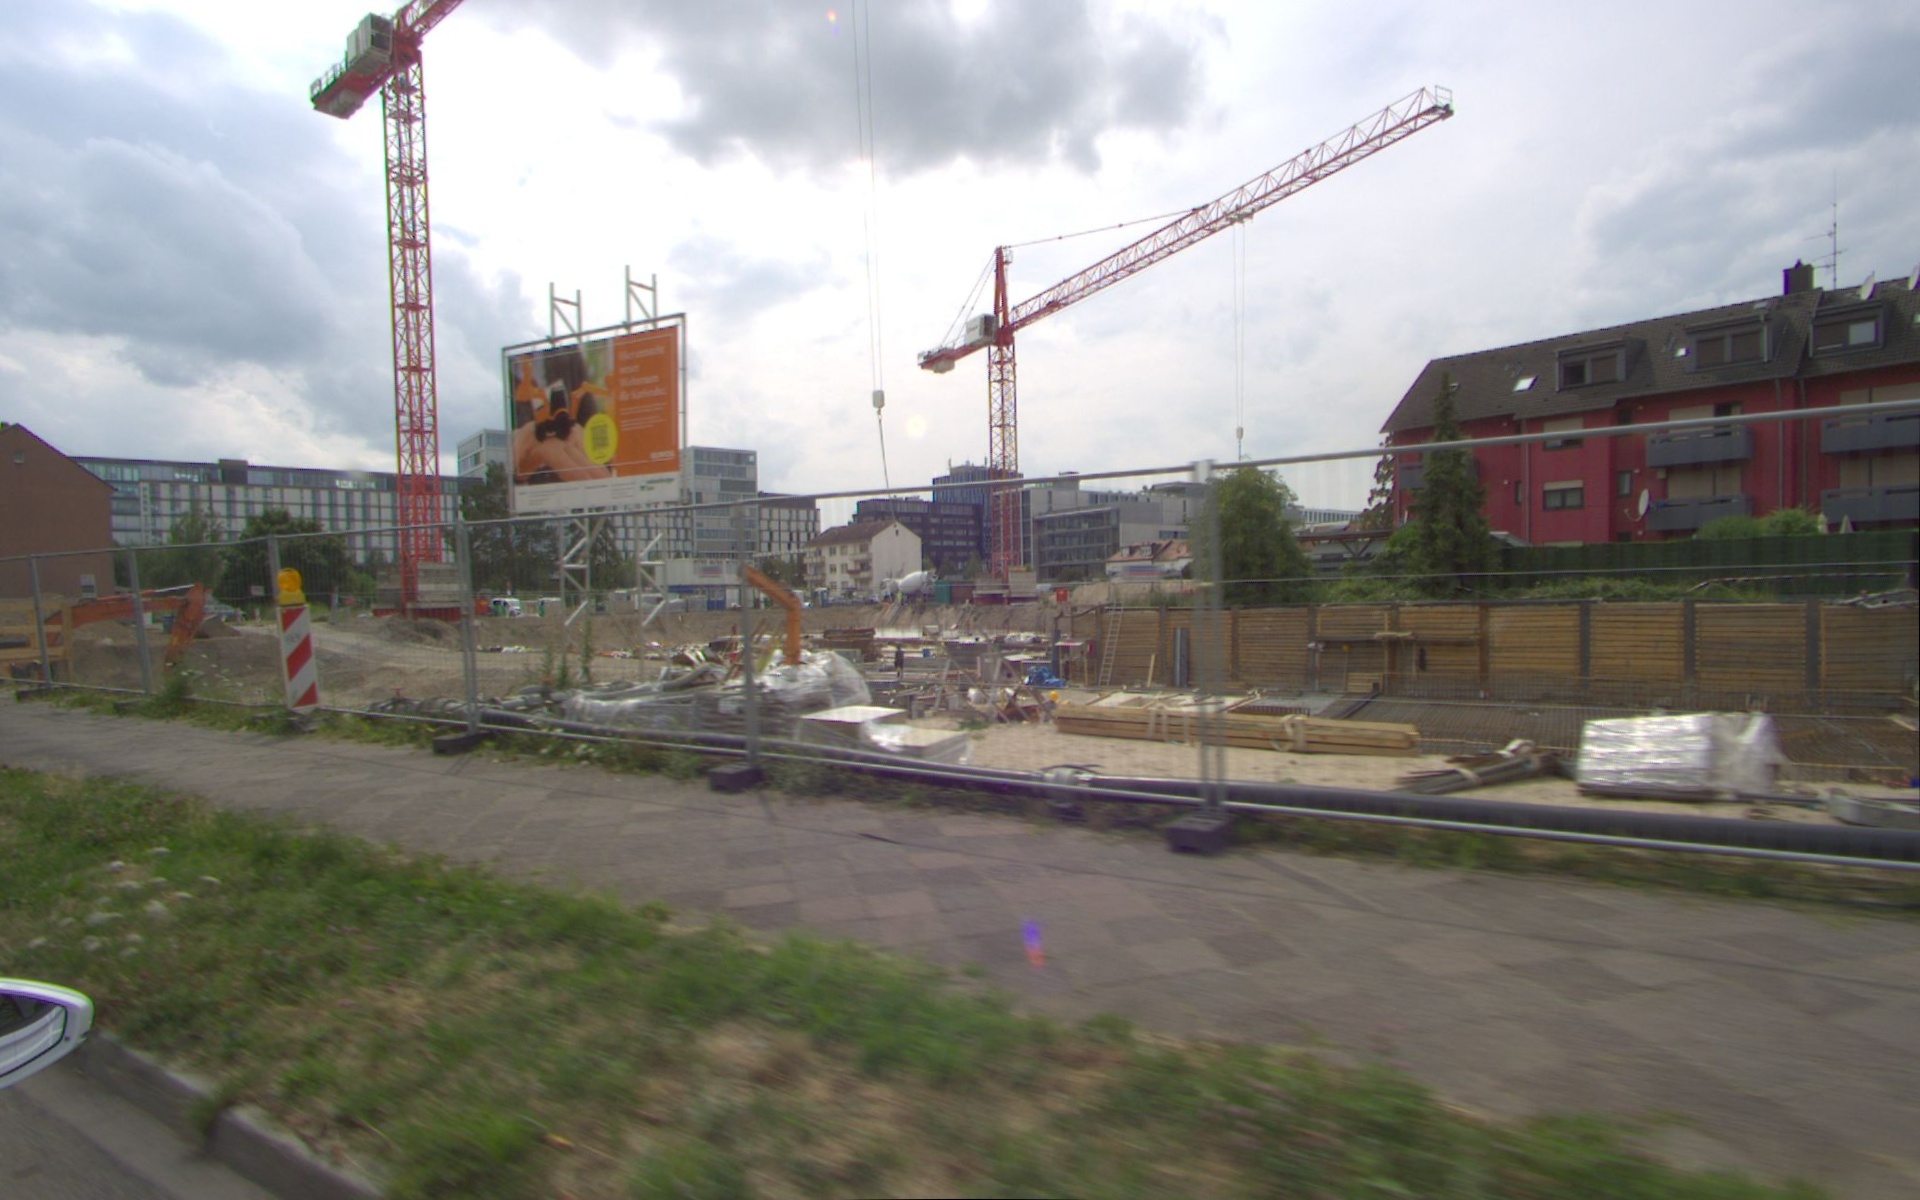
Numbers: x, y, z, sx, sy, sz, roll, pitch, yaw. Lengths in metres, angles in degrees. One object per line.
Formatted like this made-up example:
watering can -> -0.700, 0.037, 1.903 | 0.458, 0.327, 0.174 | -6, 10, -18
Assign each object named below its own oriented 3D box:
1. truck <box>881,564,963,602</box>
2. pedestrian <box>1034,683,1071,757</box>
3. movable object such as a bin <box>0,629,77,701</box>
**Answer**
truck -> -4.573, -1.921, 117.363 | 10.156, 4.190, 3.320 | 0, 3, 43
pedestrian -> 2.331, 3.009, 25.198 | 0.829, 1.746, 0.719 | -2, 3, 9
movable object such as a bin -> -38.809, 2.665, 40.286 | 4.649, 2.625, 3.102 | -4, 3, -44
